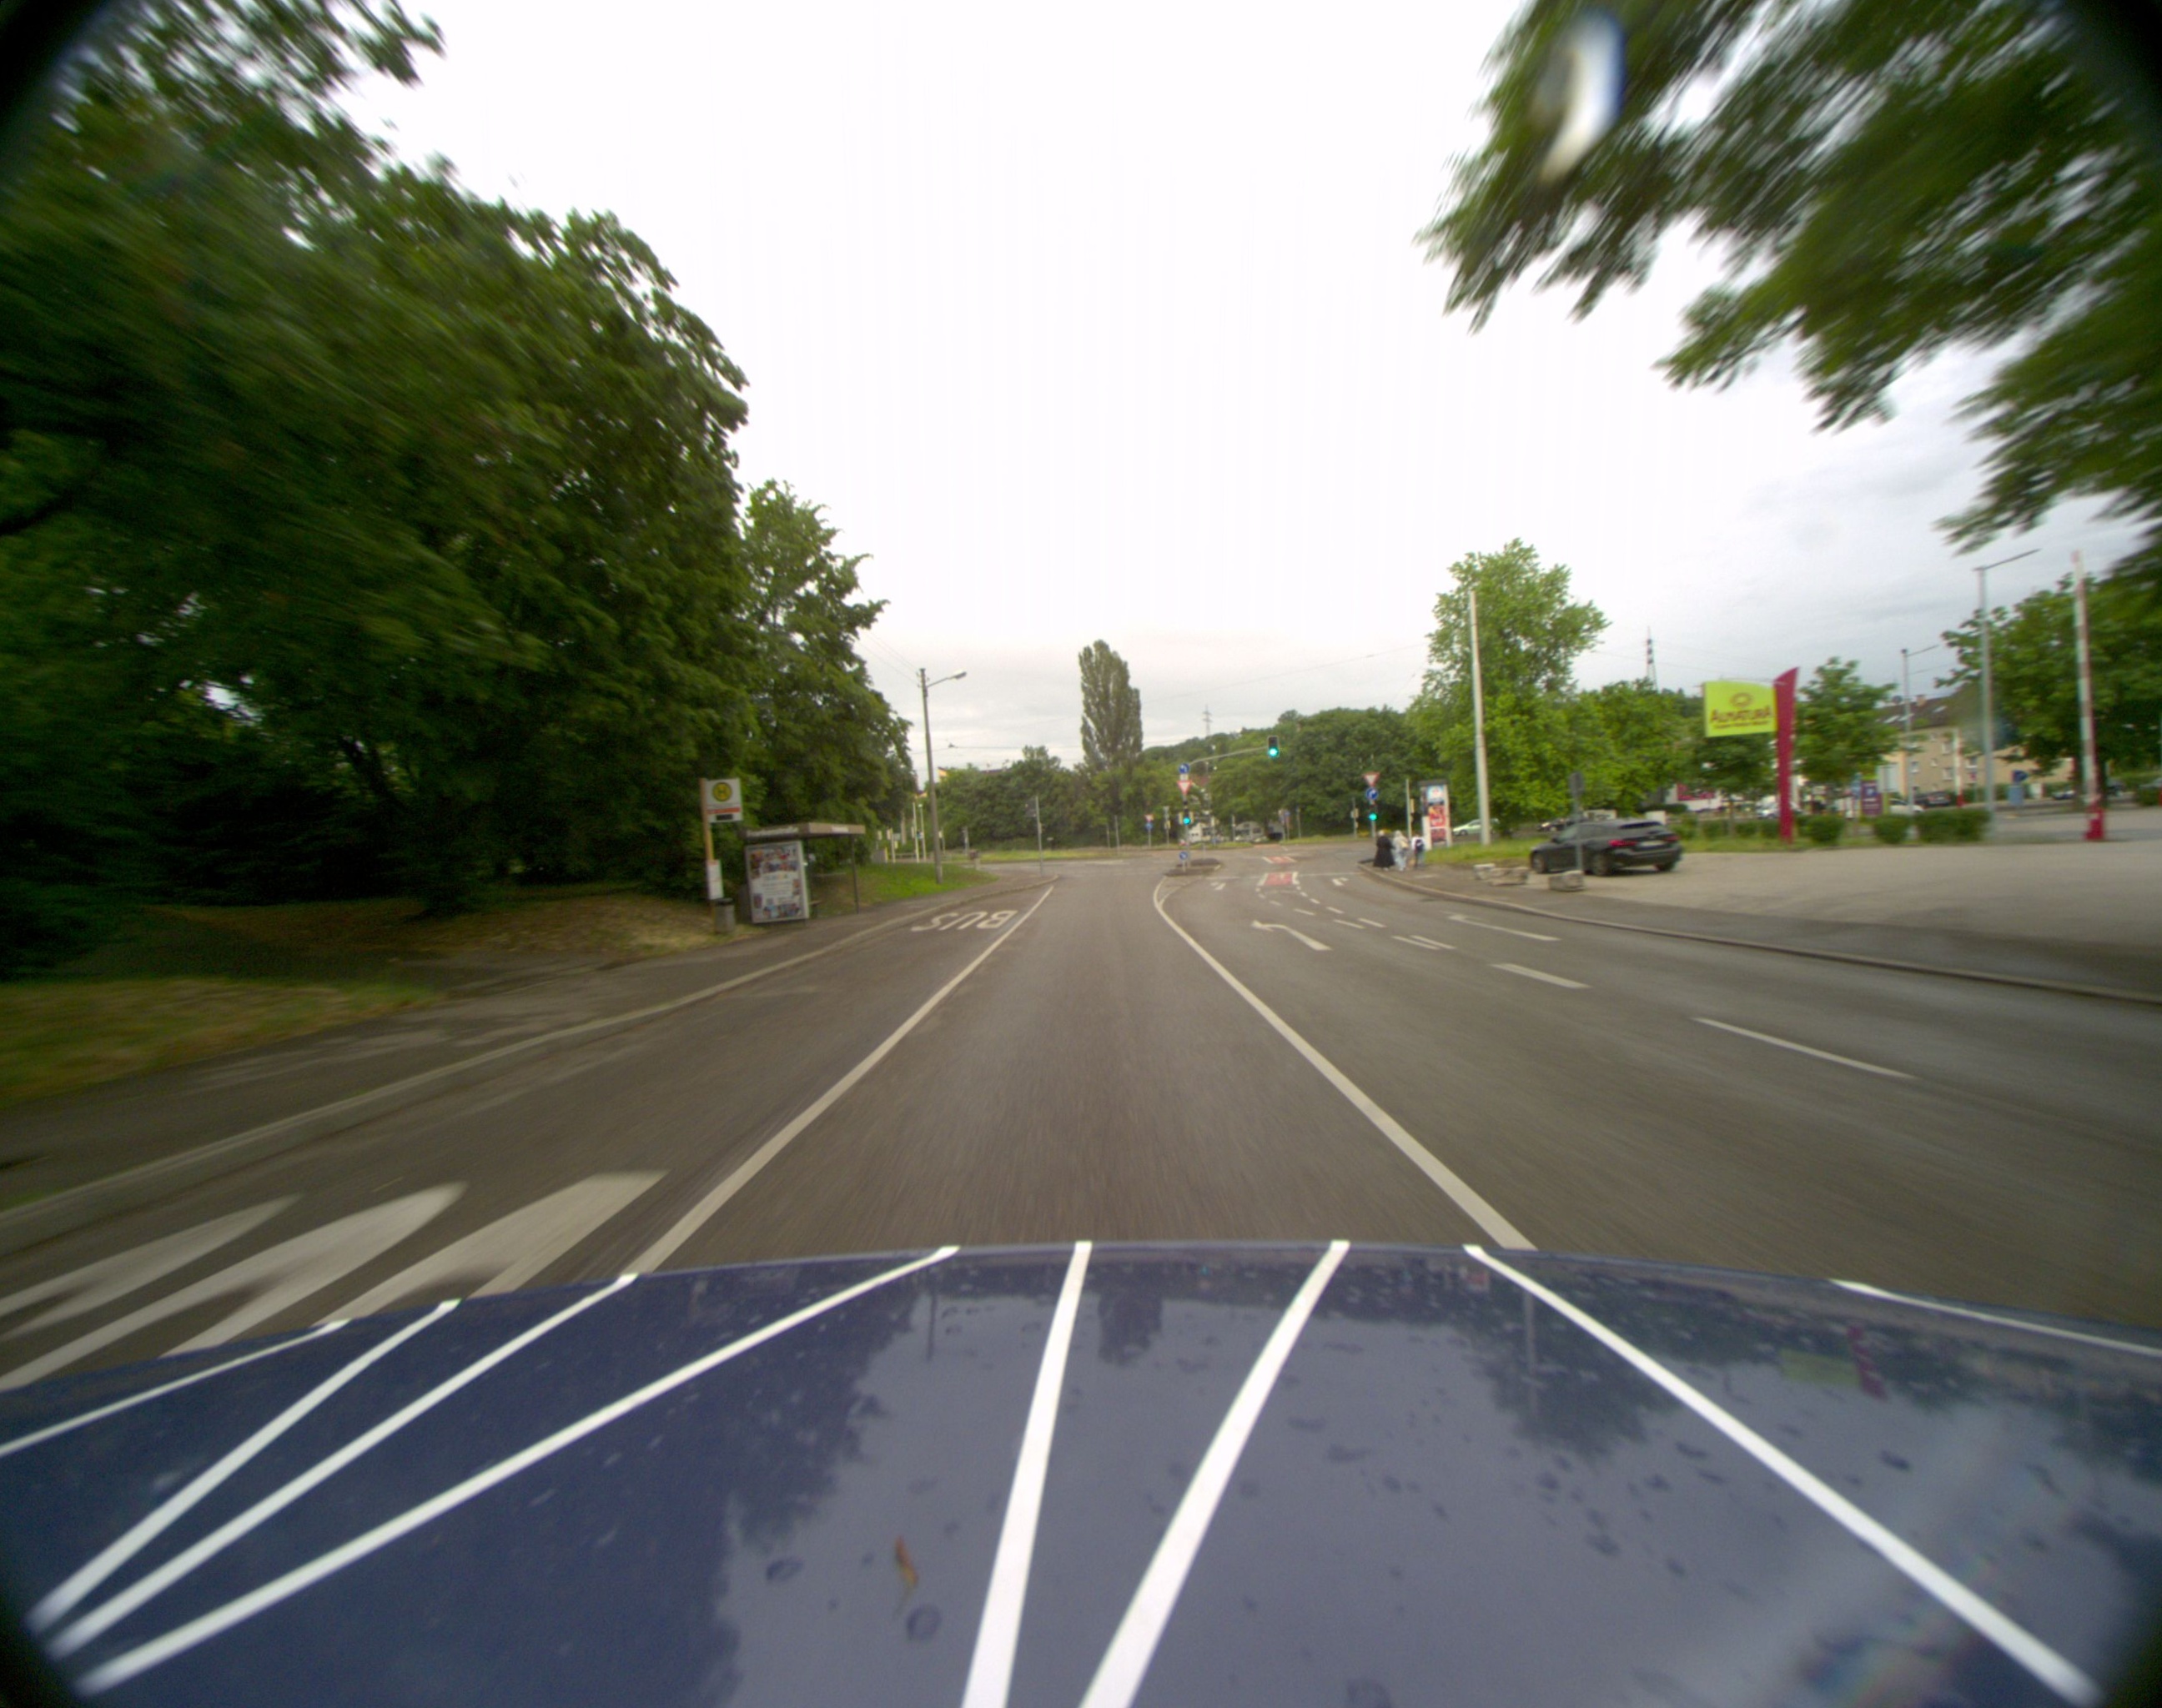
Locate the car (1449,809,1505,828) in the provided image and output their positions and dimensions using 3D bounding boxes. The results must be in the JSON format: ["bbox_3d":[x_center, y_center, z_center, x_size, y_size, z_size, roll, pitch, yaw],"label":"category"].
[{"bbox_3d":[36.970,-3.299,70.981,4.195,1.441,1.890,-3,1,9],"label":"car"}]

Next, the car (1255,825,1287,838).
[{"bbox_3d":[23.586,-2.793,94.400,3.469,1.346,1.678,-3,2,3],"label":"car"}]

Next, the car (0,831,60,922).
[{"bbox_3d":[-24.327,0.423,16.283,4.317,1.770,1.804,3,3,22],"label":"car"}]

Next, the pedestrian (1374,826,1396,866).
[{"bbox_3d":[12.543,-0.341,31.385,0.657,1.592,0.678,-5,0,15],"label":"pedestrian"}]

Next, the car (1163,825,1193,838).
[{"bbox_3d":[13.253,-3.078,104.099,3.996,1.540,1.678,-3,2,3],"label":"car"}]

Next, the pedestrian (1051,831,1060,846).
[{"bbox_3d":[-2.817,-1.708,82.578,0.682,1.597,0.810,-5,0,10],"label":"pedestrian"}]

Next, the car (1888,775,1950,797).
[{"bbox_3d":[82.398,-6.665,74.792,1.876,1.645,4.292,-5,-2,14],"label":"car"}]

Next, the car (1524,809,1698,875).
[{"bbox_3d":[14.011,-0.332,20.436,1.751,1.441,4.234,-6,1,2],"label":"car"}]

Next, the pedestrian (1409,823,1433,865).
[{"bbox_3d":[13.529,-0.400,30.242,0.657,1.592,0.678,-5,0,15],"label":"pedestrian"}]

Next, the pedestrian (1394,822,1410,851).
[{"bbox_3d":[17.441,-0.932,41.279,0.592,1.523,0.669,-5,0,16],"label":"pedestrian"}]

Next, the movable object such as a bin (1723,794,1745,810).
[{"bbox_3d":[64.111,-5.071,74.622,1.133,1.409,1.188,-5,0,7],"label":"movable object such as a bin"}]

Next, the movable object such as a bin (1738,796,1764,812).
[{"bbox_3d":[65.619,-4.887,74.416,1.298,1.409,1.316,-5,0,7],"label":"movable object such as a bin"}]

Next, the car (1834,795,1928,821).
[{"bbox_3d":[52.109,-2.972,49.557,3.994,1.474,1.693,-3,3,10],"label":"car"}]

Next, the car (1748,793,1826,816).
[{"bbox_3d":[57.302,-3.997,61.724,4.195,1.416,1.890,-5,0,9],"label":"car"}]

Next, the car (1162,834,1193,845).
[{"bbox_3d":[12.944,-1.940,101.972,3.996,1.346,1.678,-3,2,3],"label":"car"}]

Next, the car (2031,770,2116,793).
[{"bbox_3d":[86.817,-6.351,66.504,4.432,1.524,1.844,-4,0,9],"label":"car"}]

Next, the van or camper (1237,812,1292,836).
[{"bbox_3d":[23.426,-3.808,97.286,6.424,2.739,2.431,-3,2,6],"label":"van or camper"}]

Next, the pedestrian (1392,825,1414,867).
[{"bbox_3d":[12.951,-0.329,30.529,0.606,1.592,0.678,-5,0,15],"label":"pedestrian"}]
